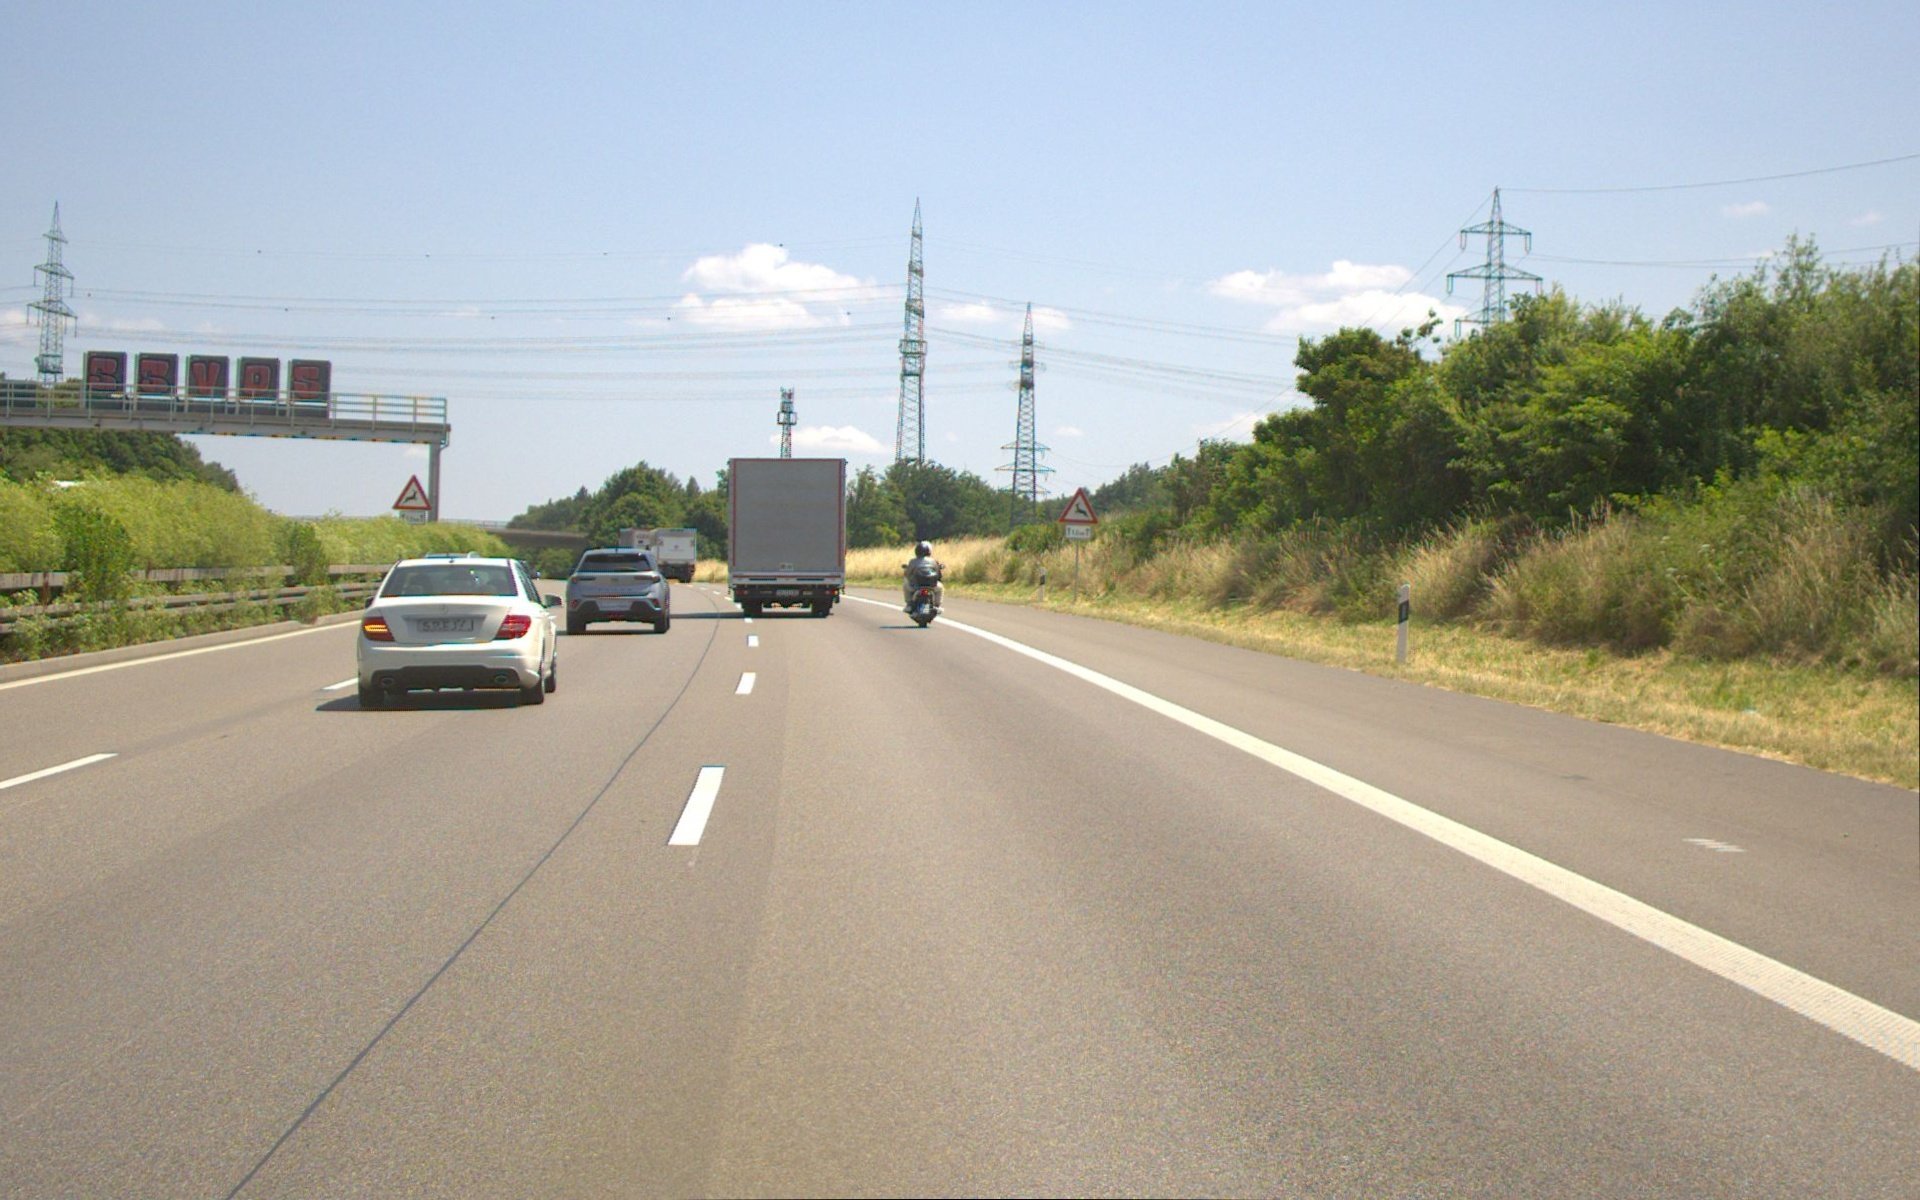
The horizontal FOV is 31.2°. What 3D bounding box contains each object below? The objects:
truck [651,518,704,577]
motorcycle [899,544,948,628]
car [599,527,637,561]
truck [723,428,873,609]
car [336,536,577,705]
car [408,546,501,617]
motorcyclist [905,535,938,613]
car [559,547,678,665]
[{"bbox_3d":[-18.915,-3.499,230.116,3.483,3.899,7.291,0,1,-5],"label":"truck"},{"bbox_3d":[-0.701,-0.275,65.933,0.809,1.602,1.782,0,1,-5],"label":"motorcycle"},{"bbox_3d":[-19.403,-3.192,194.989,1.901,1.919,4.001,0,1,-2],"label":"car"},{"bbox_3d":[-3.832,-1.829,79.288,3.220,3.911,9.062,0,1,-4],"label":"truck"},{"bbox_3d":[-4.876,0.151,33.749,1.819,1.535,3.915,0,1,-1],"label":"car"},{"bbox_3d":[-10.775,-0.413,73.493,1.756,1.424,4.001,0,1,-5],"label":"car"},{"bbox_3d":[-0.744,-0.499,65.954,0.572,1.474,0.700,0,1,-5],"label":"motorcyclist"},{"bbox_3d":[-6.095,0.068,61.709,1.993,2.007,4.001,0,1,-4],"label":"car"}]
